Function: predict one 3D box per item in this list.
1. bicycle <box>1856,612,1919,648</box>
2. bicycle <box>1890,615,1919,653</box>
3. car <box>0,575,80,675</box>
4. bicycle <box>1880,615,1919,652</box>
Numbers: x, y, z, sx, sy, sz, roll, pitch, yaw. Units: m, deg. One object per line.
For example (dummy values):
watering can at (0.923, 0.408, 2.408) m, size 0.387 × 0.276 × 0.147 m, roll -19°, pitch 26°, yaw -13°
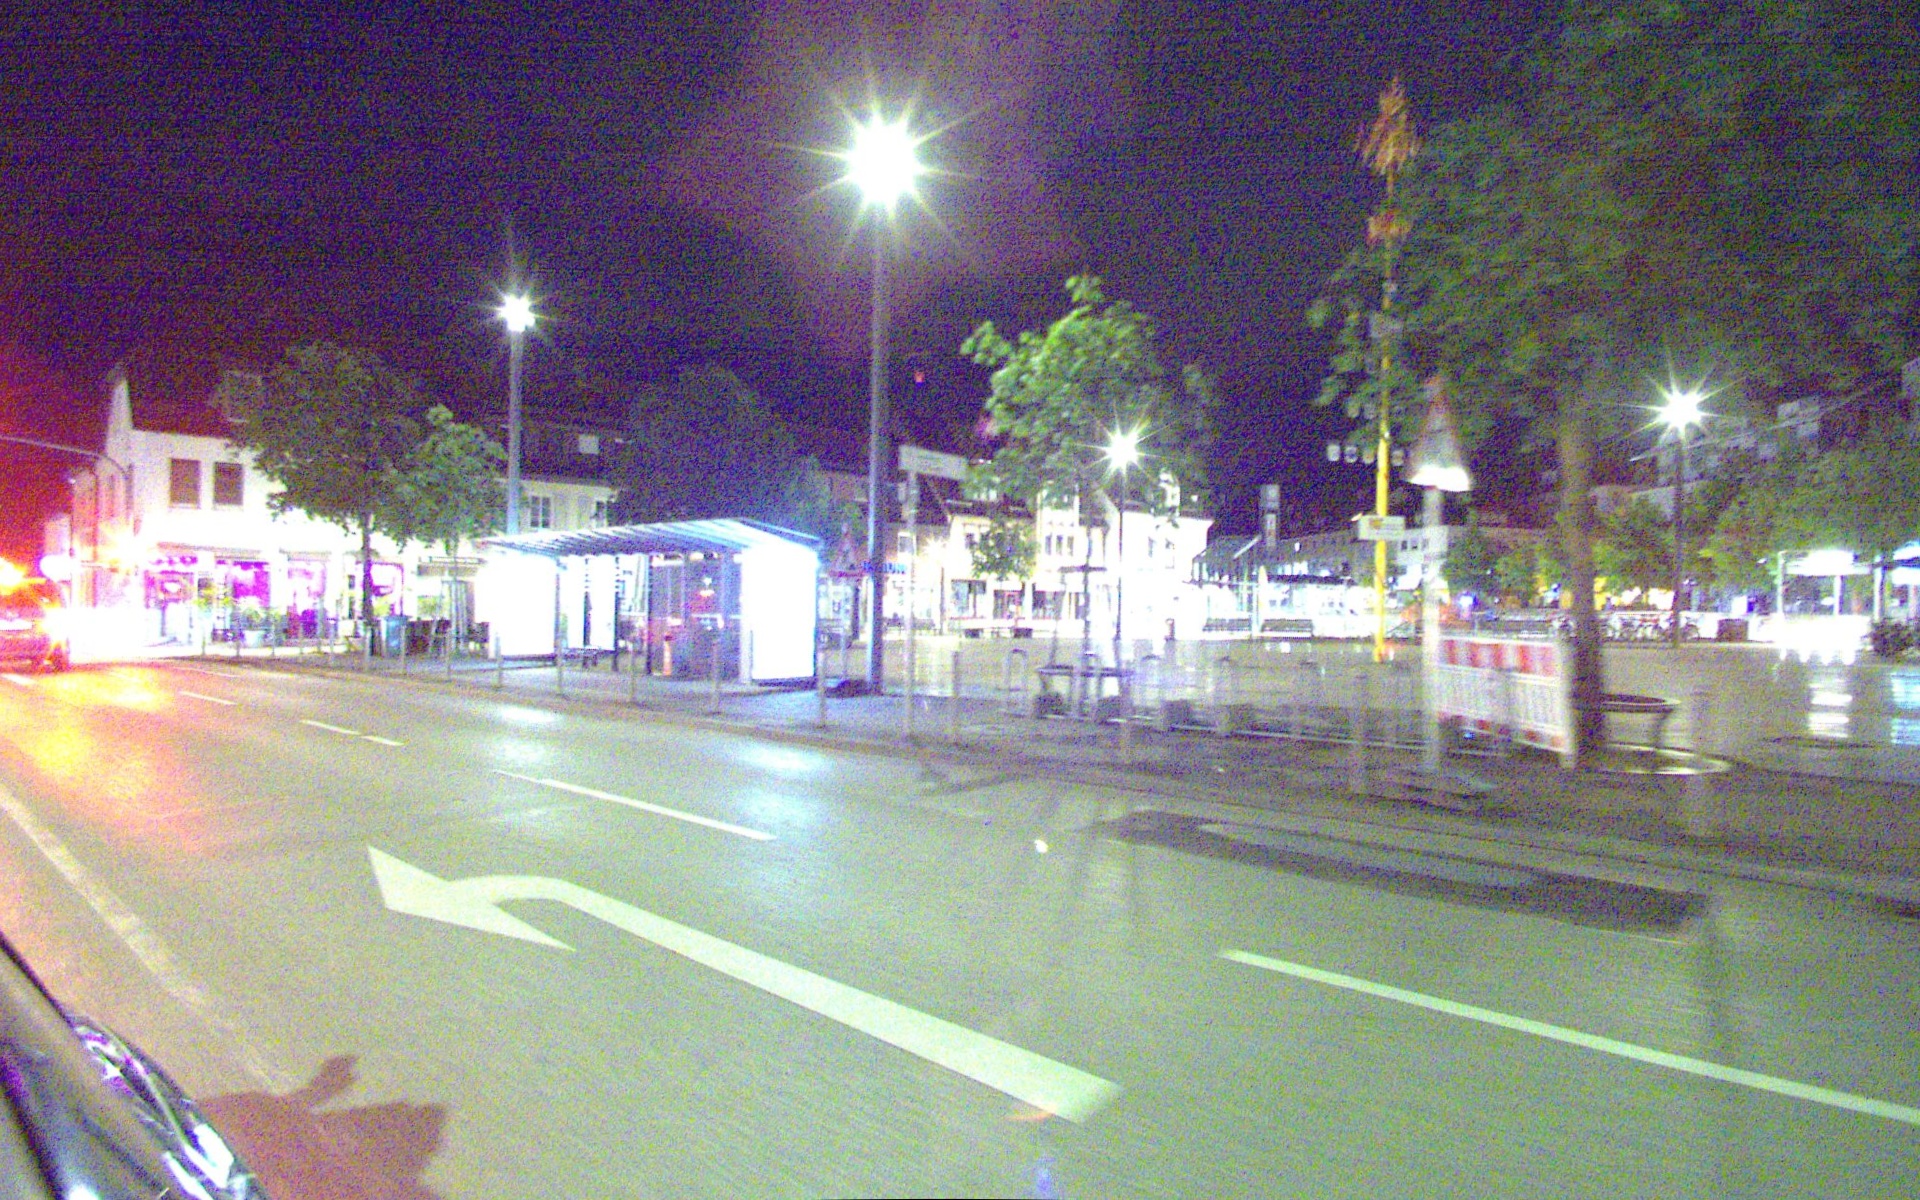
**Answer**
bicycle at (25.585, 0.805, 27.689) m, size 1.525 × 0.965 × 0.476 m, roll 0°, pitch 0°, yaw 25°
bicycle at (24.978, 0.871, 25.994) m, size 1.525 × 0.965 × 0.476 m, roll 0°, pitch 0°, yaw 25°
car at (-19.932, 0.473, 20.784) m, size 4.906 × 1.886 × 1.947 m, roll 0°, pitch -1°, yaw 39°
bicycle at (25.386, 0.888, 26.727) m, size 1.525 × 0.965 × 0.476 m, roll 0°, pitch 0°, yaw 25°
